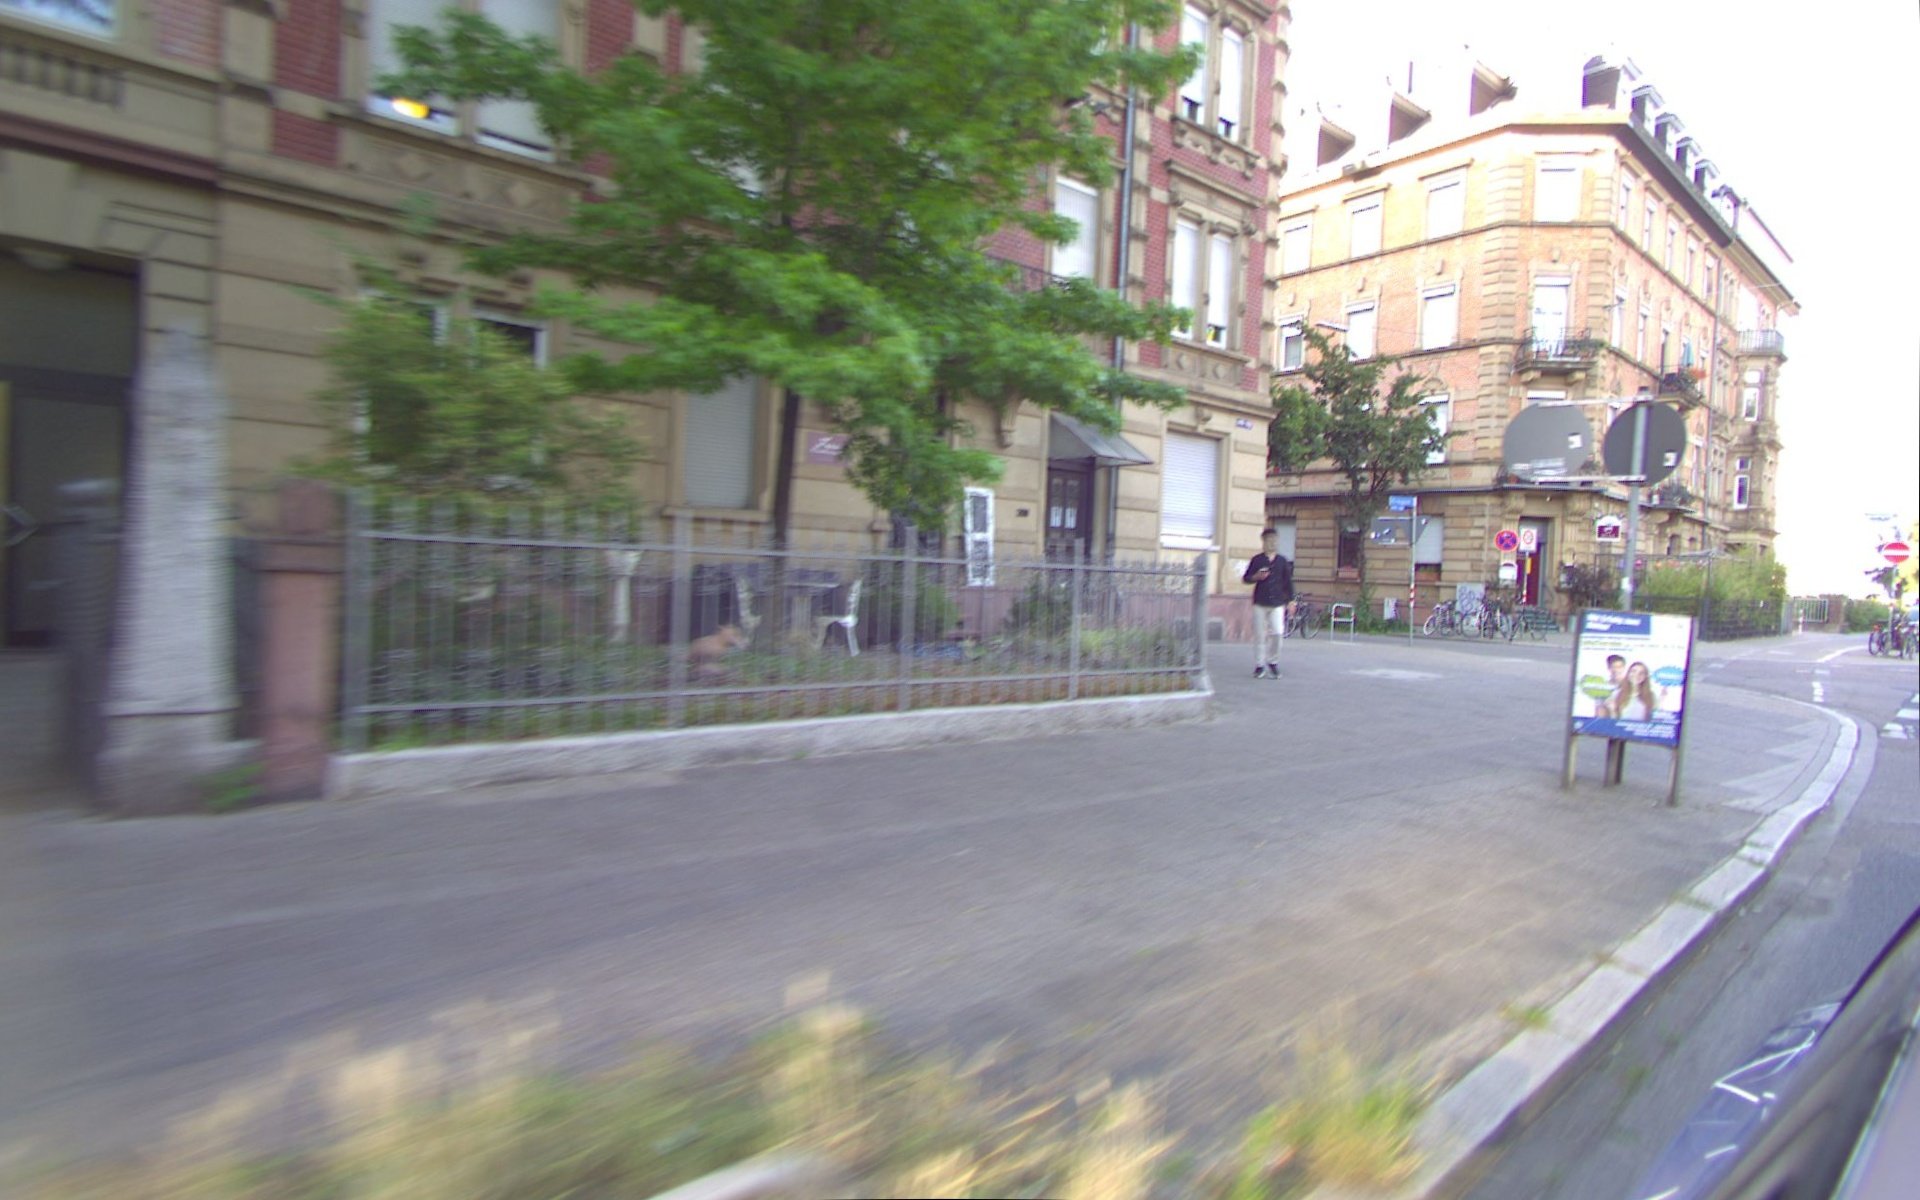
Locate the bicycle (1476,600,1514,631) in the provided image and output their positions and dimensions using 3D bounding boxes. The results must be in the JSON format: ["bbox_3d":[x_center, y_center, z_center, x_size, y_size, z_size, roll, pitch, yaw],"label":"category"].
[{"bbox_3d":[15.230,0.428,28.816,1.469,0.827,0.295,-2,2,-34],"label":"bicycle"}]

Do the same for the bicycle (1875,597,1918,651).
[{"bbox_3d":[25.026,0.612,27.025,2.227,1.289,0.566,-2,7,-43],"label":"bicycle"}]

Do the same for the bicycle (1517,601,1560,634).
[{"bbox_3d":[15.831,0.474,27.673,1.702,0.827,0.295,-2,2,-34],"label":"bicycle"}]

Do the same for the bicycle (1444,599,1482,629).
[{"bbox_3d":[14.599,0.397,29.385,1.469,0.827,0.295,-2,2,-34],"label":"bicycle"}]

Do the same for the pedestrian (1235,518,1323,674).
[{"bbox_3d":[3.886,-0.073,12.405,0.735,1.799,0.830,4,4,7],"label":"pedestrian"}]

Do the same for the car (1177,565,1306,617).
[{"bbox_3d":[9.718,-0.341,35.161,1.814,1.626,3.999,1,2,-37],"label":"car"}]

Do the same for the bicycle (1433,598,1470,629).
[{"bbox_3d":[14.405,0.385,29.645,1.469,0.827,0.295,-2,2,-34],"label":"bicycle"}]

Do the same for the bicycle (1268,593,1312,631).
[{"bbox_3d":[7.971,0.302,24.398,1.471,0.827,0.295,5,-3,-42],"label":"bicycle"}]

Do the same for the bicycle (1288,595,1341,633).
[{"bbox_3d":[8.484,0.331,24.228,1.467,0.827,0.295,4,-2,-30],"label":"bicycle"}]

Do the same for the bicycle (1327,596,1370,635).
[{"bbox_3d":[9.087,0.377,23.626,1.471,0.827,0.291,5,-3,-42],"label":"bicycle"}]

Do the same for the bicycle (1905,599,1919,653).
[{"bbox_3d":[25.417,0.677,26.601,2.227,1.314,0.566,-2,7,-43],"label":"bicycle"}]

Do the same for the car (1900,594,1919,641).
[{"bbox_3d":[32.379,0.644,33.274,3.485,1.482,1.730,1,5,-42],"label":"car"}]

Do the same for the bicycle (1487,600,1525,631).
[{"bbox_3d":[15.410,0.425,28.554,1.469,0.827,0.295,-2,2,-34],"label":"bicycle"}]
